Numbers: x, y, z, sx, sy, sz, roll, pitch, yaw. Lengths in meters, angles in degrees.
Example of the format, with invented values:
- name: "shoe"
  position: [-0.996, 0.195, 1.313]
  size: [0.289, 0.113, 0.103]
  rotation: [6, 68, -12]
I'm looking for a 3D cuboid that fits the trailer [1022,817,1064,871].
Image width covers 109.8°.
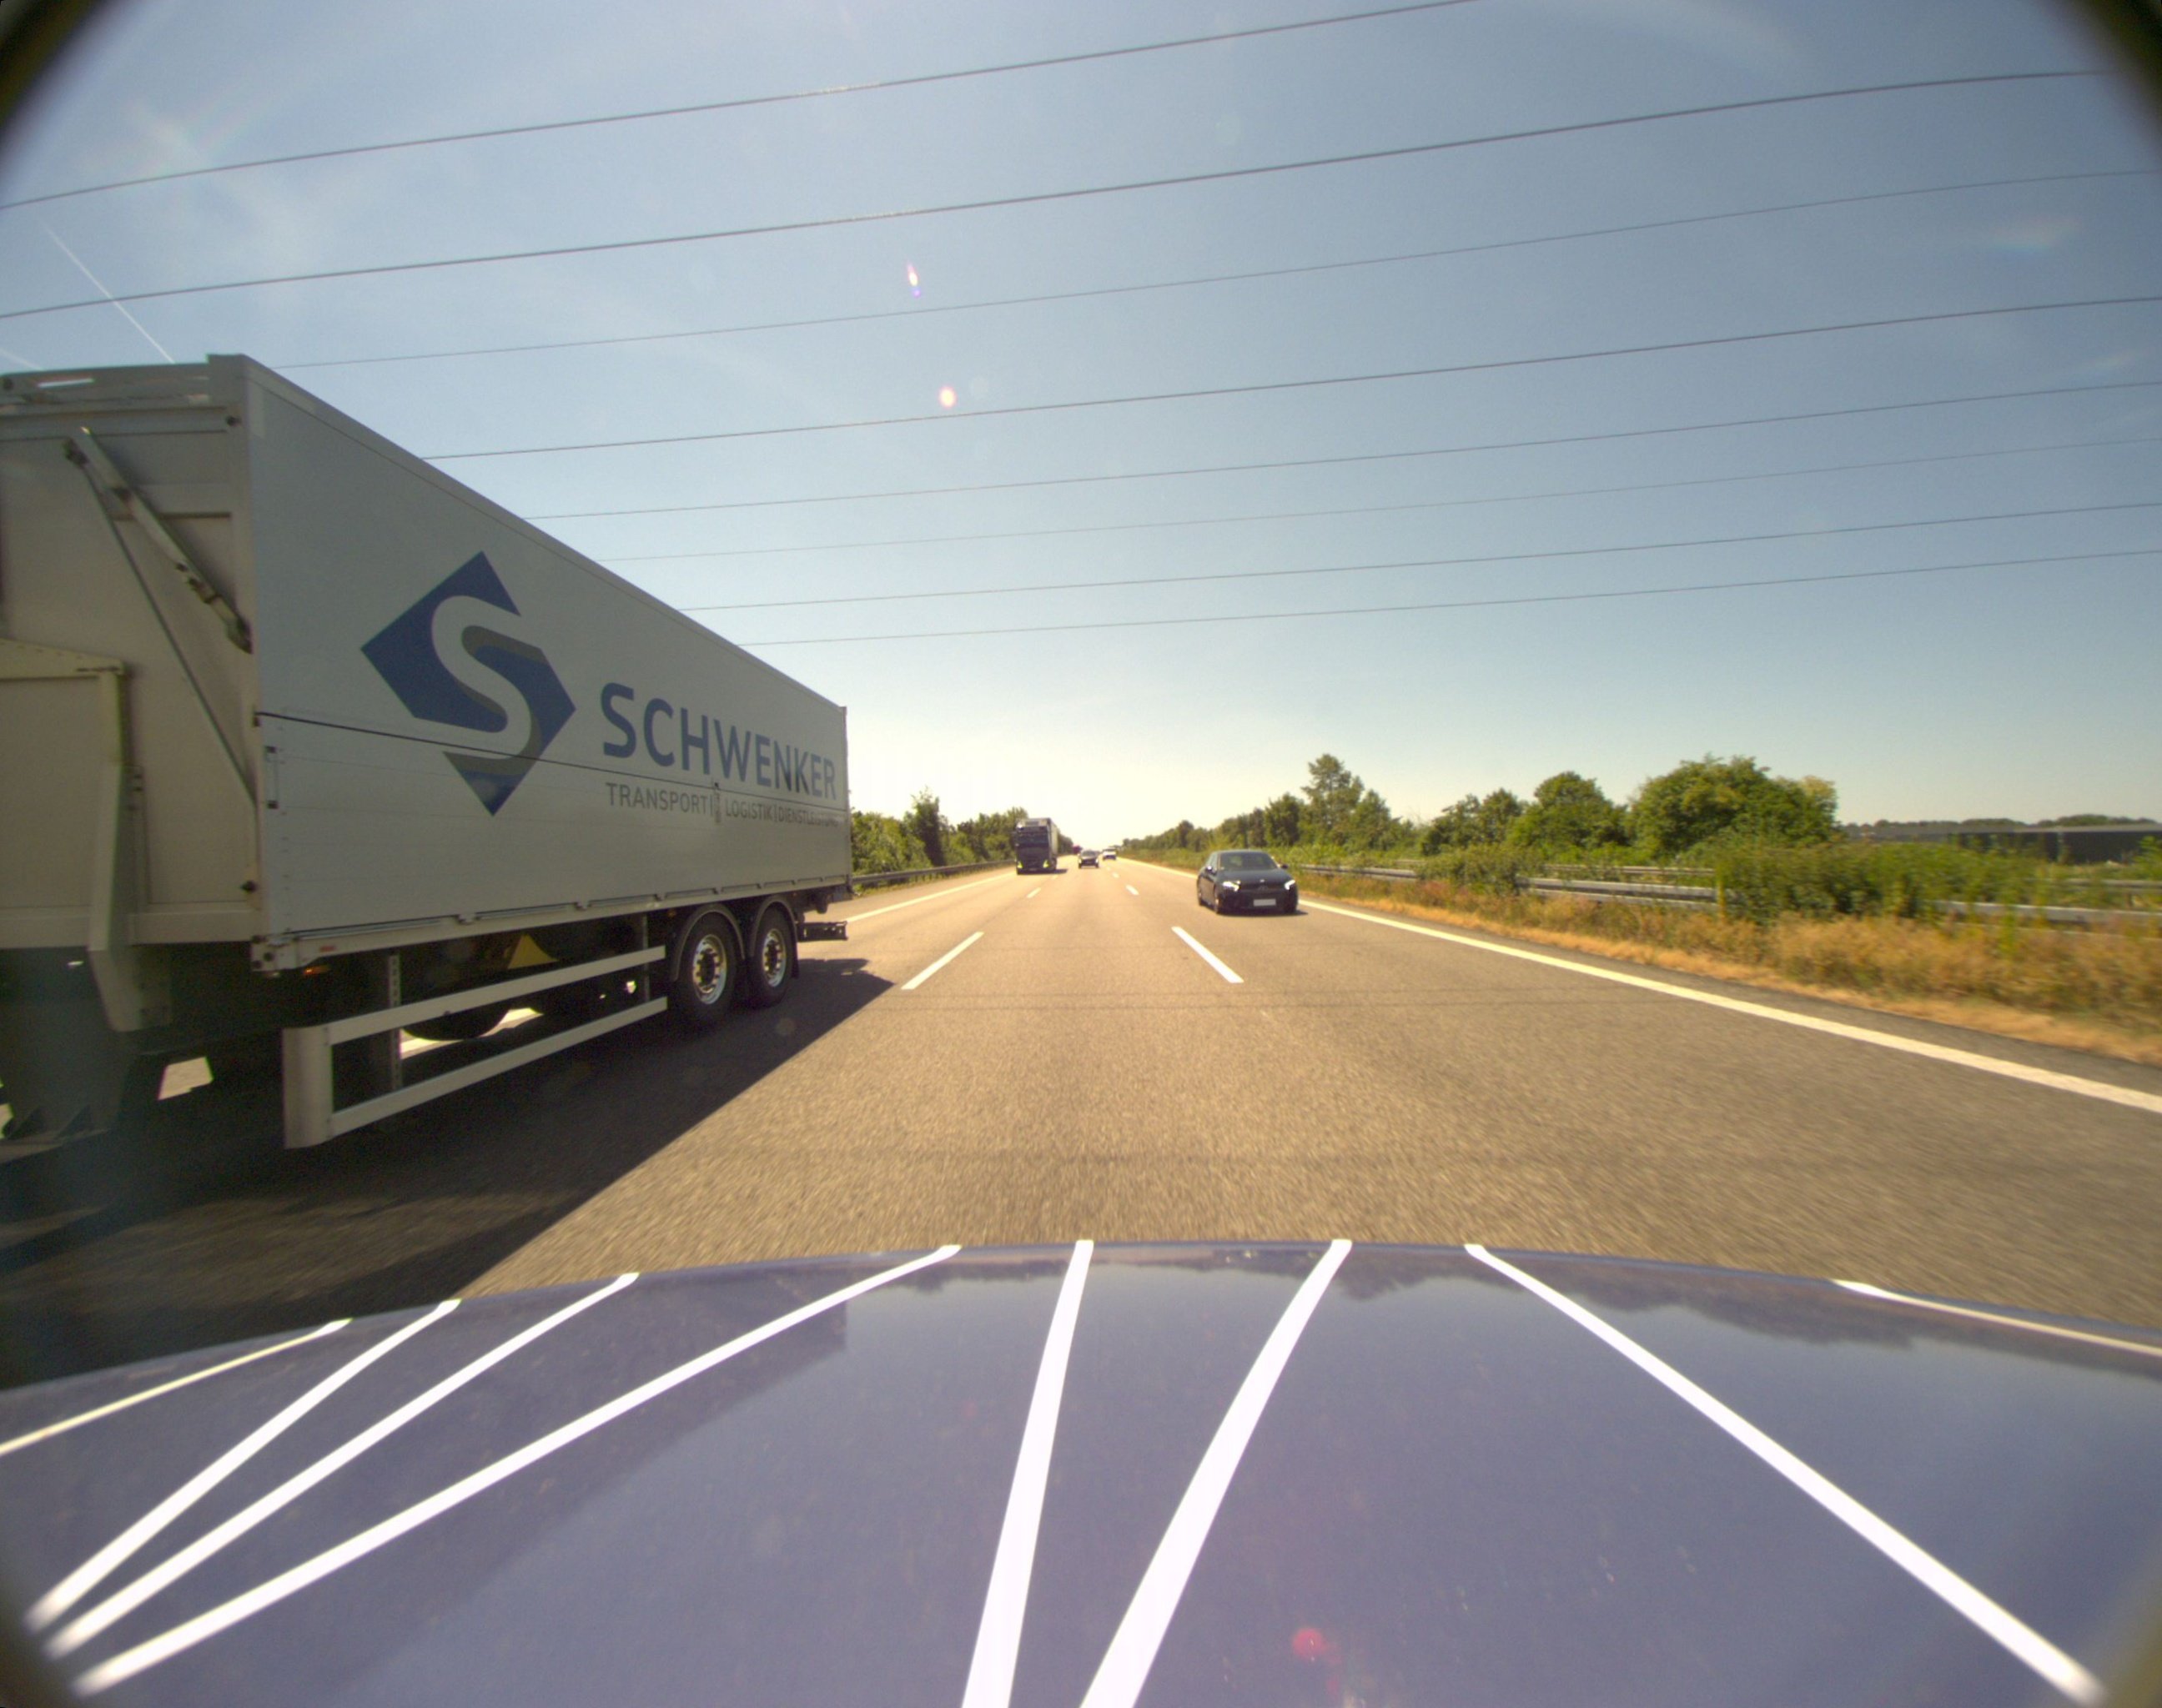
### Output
- name: "trailer"
  position: [-2.987, -0.798, 63.657]
  size: [2.559, 3.931, 13.537]
  rotation: [-2, 0, 1]

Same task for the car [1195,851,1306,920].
- name: "car"
  position: [3.928, 0.666, 18.270]
  size: [1.796, 1.403, 4.052]
  rotation: [-2, 1, 1]

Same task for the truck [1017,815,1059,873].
- name: "truck"
  position: [-3.084, -0.732, 56.099]
  size: [2.559, 3.932, 6.513]
  rotation: [-2, 1, 1]

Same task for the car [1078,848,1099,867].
- name: "car"
  position: [0.715, 0.290, 68.292]
  size: [1.796, 1.696, 4.000]
  rotation: [-1, 1, 1]

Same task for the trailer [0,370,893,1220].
- name: "trailer"
  position: [-4.508, -0.297, 7.755]
  size: [2.952, 4.039, 8.127]
  rotation: [-2, 1, 0]

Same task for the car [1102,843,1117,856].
- name: "car"
  position: [4.347, -0.725, 117.306]
  size: [2.147, 1.810, 5.267]
  rotation: [-2, 1, 1]

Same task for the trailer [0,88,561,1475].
- name: "trailer"
  position: [-4.598, -0.186, 0.737]
  size: [2.927, 4.018, 7.316]
  rotation: [-2, 1, 0]
